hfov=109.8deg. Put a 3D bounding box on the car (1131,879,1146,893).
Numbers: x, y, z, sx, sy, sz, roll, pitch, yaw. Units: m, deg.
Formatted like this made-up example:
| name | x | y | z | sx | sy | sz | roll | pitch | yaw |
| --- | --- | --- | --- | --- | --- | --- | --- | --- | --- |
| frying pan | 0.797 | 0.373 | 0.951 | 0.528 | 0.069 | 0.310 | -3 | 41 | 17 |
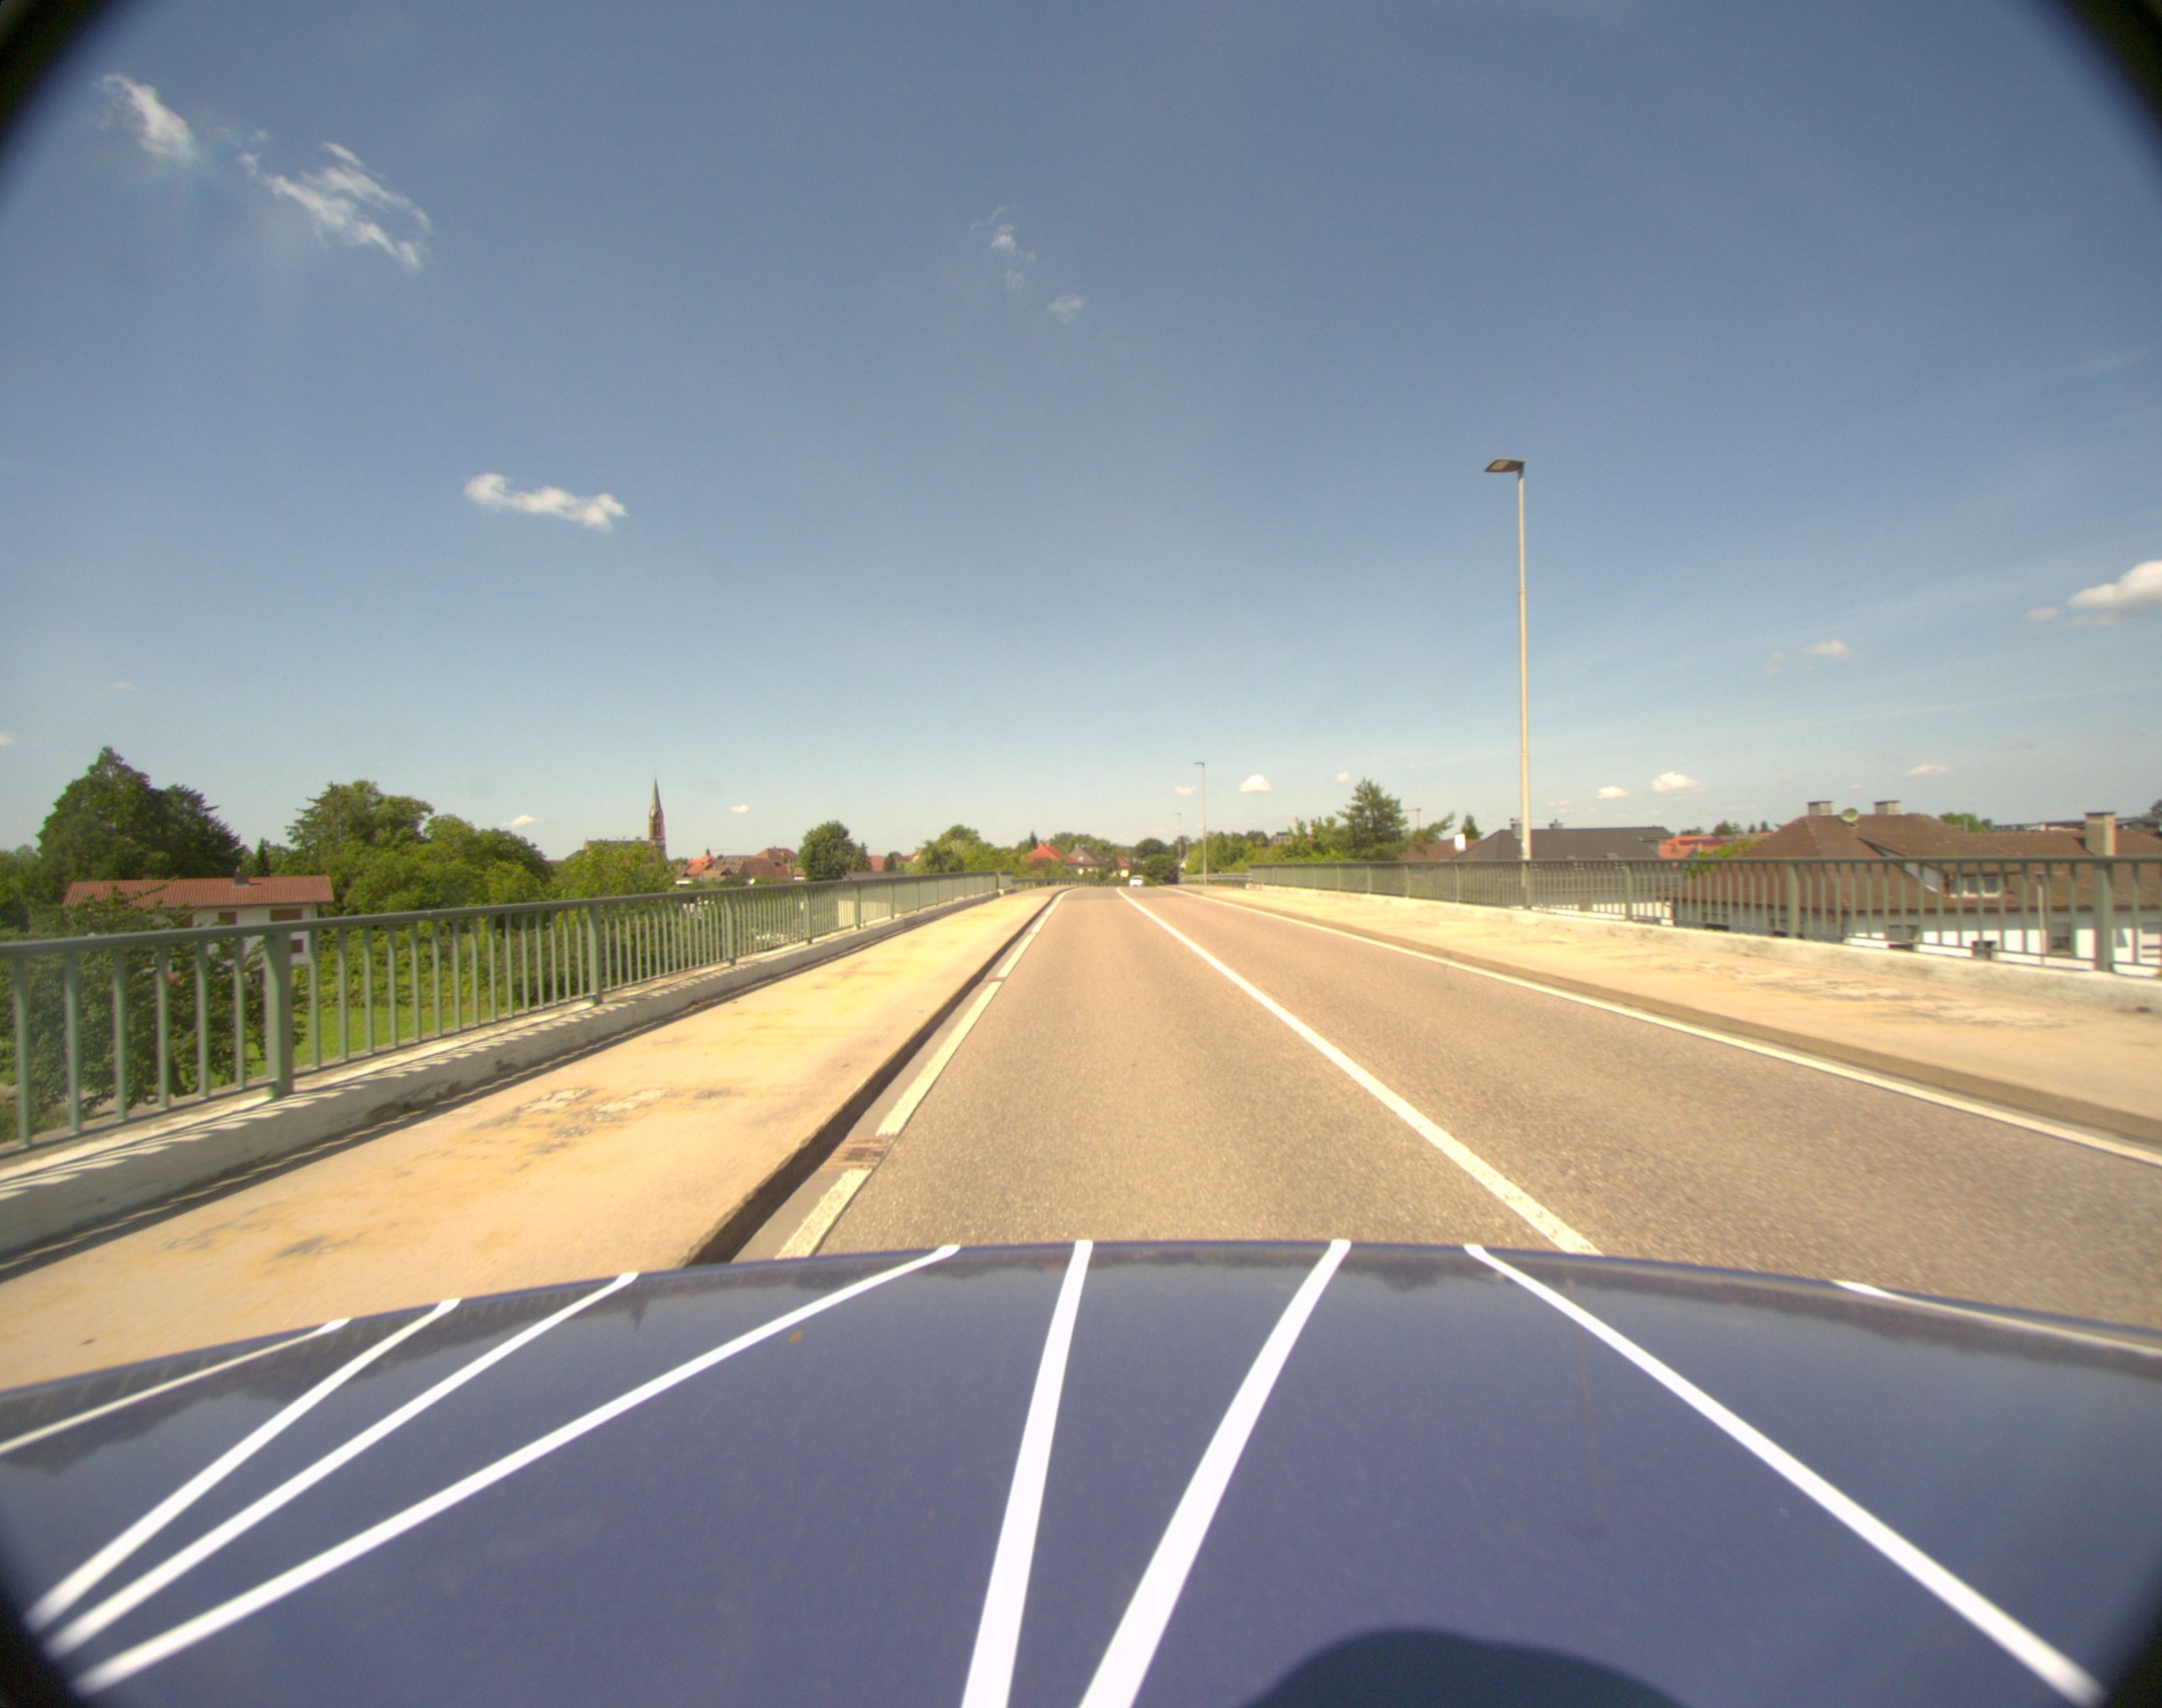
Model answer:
| name | x | y | z | sx | sy | sz | roll | pitch | yaw |
| --- | --- | --- | --- | --- | --- | --- | --- | --- | --- |
| car | 8.567 | 4.722 | 113.847 | 2.092 | 1.751 | 4.283 | -3 | 1 | 3 |
